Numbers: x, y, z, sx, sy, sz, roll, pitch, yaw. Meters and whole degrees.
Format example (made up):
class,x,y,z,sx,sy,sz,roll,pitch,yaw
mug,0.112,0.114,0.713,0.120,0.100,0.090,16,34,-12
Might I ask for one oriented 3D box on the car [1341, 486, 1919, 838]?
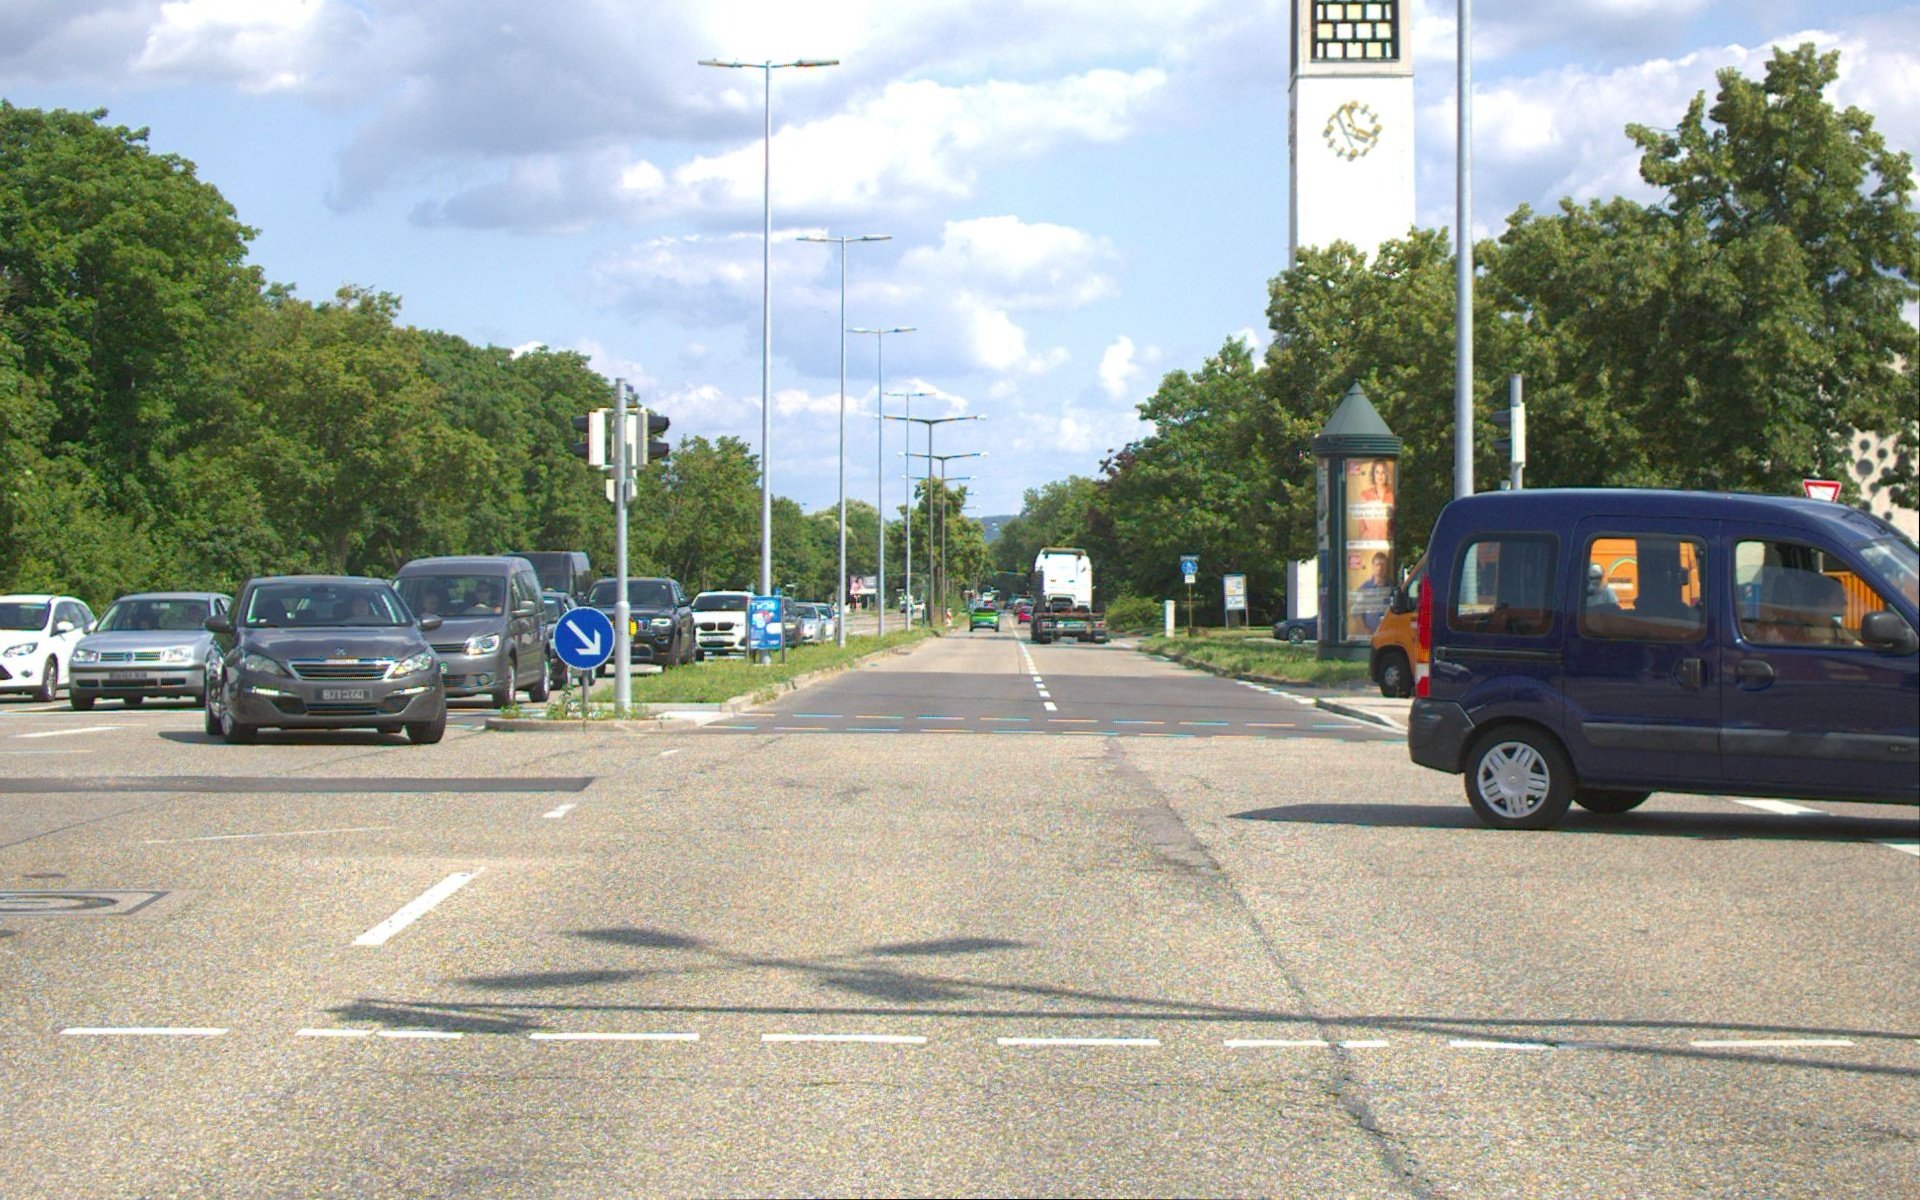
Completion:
class,x,y,z,sx,sy,sz,roll,pitch,yaw
car,4.300,0.309,17.833,4.224,1.654,1.737,2,0,30

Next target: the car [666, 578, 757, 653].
class,x,y,z,sx,sy,sz,roll,pitch,yaw
car,-5.793,0.357,80.480,1.734,1.654,4.231,2,0,0

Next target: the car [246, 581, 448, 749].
class,x,y,z,sx,sy,sz,roll,pitch,yaw
car,-5.274,0.524,29.633,1.567,1.311,3.433,2,0,-10

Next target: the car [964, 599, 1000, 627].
class,x,y,z,sx,sy,sz,roll,pitch,yaw
car,1.316,0.778,205.810,1.993,1.547,4.000,2,0,-1

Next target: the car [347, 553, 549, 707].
class,x,y,z,sx,sy,sz,roll,pitch,yaw
car,-6.057,0.311,41.077,1.734,1.654,4.231,2,1,0

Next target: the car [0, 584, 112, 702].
class,x,y,z,sx,sy,sz,roll,pitch,yaw
car,-13.094,0.552,47.300,1.858,1.508,4.000,2,0,-1

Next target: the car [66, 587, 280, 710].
class,x,y,z,sx,sy,sz,roll,pitch,yaw
car,-9.695,0.572,42.628,1.725,1.393,4.000,2,0,-1

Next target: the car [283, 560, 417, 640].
class,x,y,z,sx,sy,sz,roll,pitch,yaw
car,-9.927,0.002,56.135,1.548,1.213,3.490,2,0,-1

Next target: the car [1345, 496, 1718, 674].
class,x,y,z,sx,sy,sz,roll,pitch,yaw
car,7.613,-0.220,46.248,2.204,2.218,4.860,2,0,-32

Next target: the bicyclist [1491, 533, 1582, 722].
class,x,y,z,sx,sy,sz,roll,pitch,yaw
bicyclist,5.541,0.260,33.050,0.787,1.798,0.686,0,0,4

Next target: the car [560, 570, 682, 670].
class,x,y,z,sx,sy,sz,roll,pitch,yaw
car,-5.990,0.344,61.196,1.734,1.654,4.231,2,0,-1

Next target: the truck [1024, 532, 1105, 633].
class,x,y,z,sx,sy,sz,roll,pitch,yaw
truck,4.310,-0.667,140.177,2.960,3.957,8.636,1,-1,4

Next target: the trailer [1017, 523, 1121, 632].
class,x,y,z,sx,sy,sz,roll,pitch,yaw
trailer,4.274,-0.777,132.164,3.621,3.998,11.317,1,-1,4
